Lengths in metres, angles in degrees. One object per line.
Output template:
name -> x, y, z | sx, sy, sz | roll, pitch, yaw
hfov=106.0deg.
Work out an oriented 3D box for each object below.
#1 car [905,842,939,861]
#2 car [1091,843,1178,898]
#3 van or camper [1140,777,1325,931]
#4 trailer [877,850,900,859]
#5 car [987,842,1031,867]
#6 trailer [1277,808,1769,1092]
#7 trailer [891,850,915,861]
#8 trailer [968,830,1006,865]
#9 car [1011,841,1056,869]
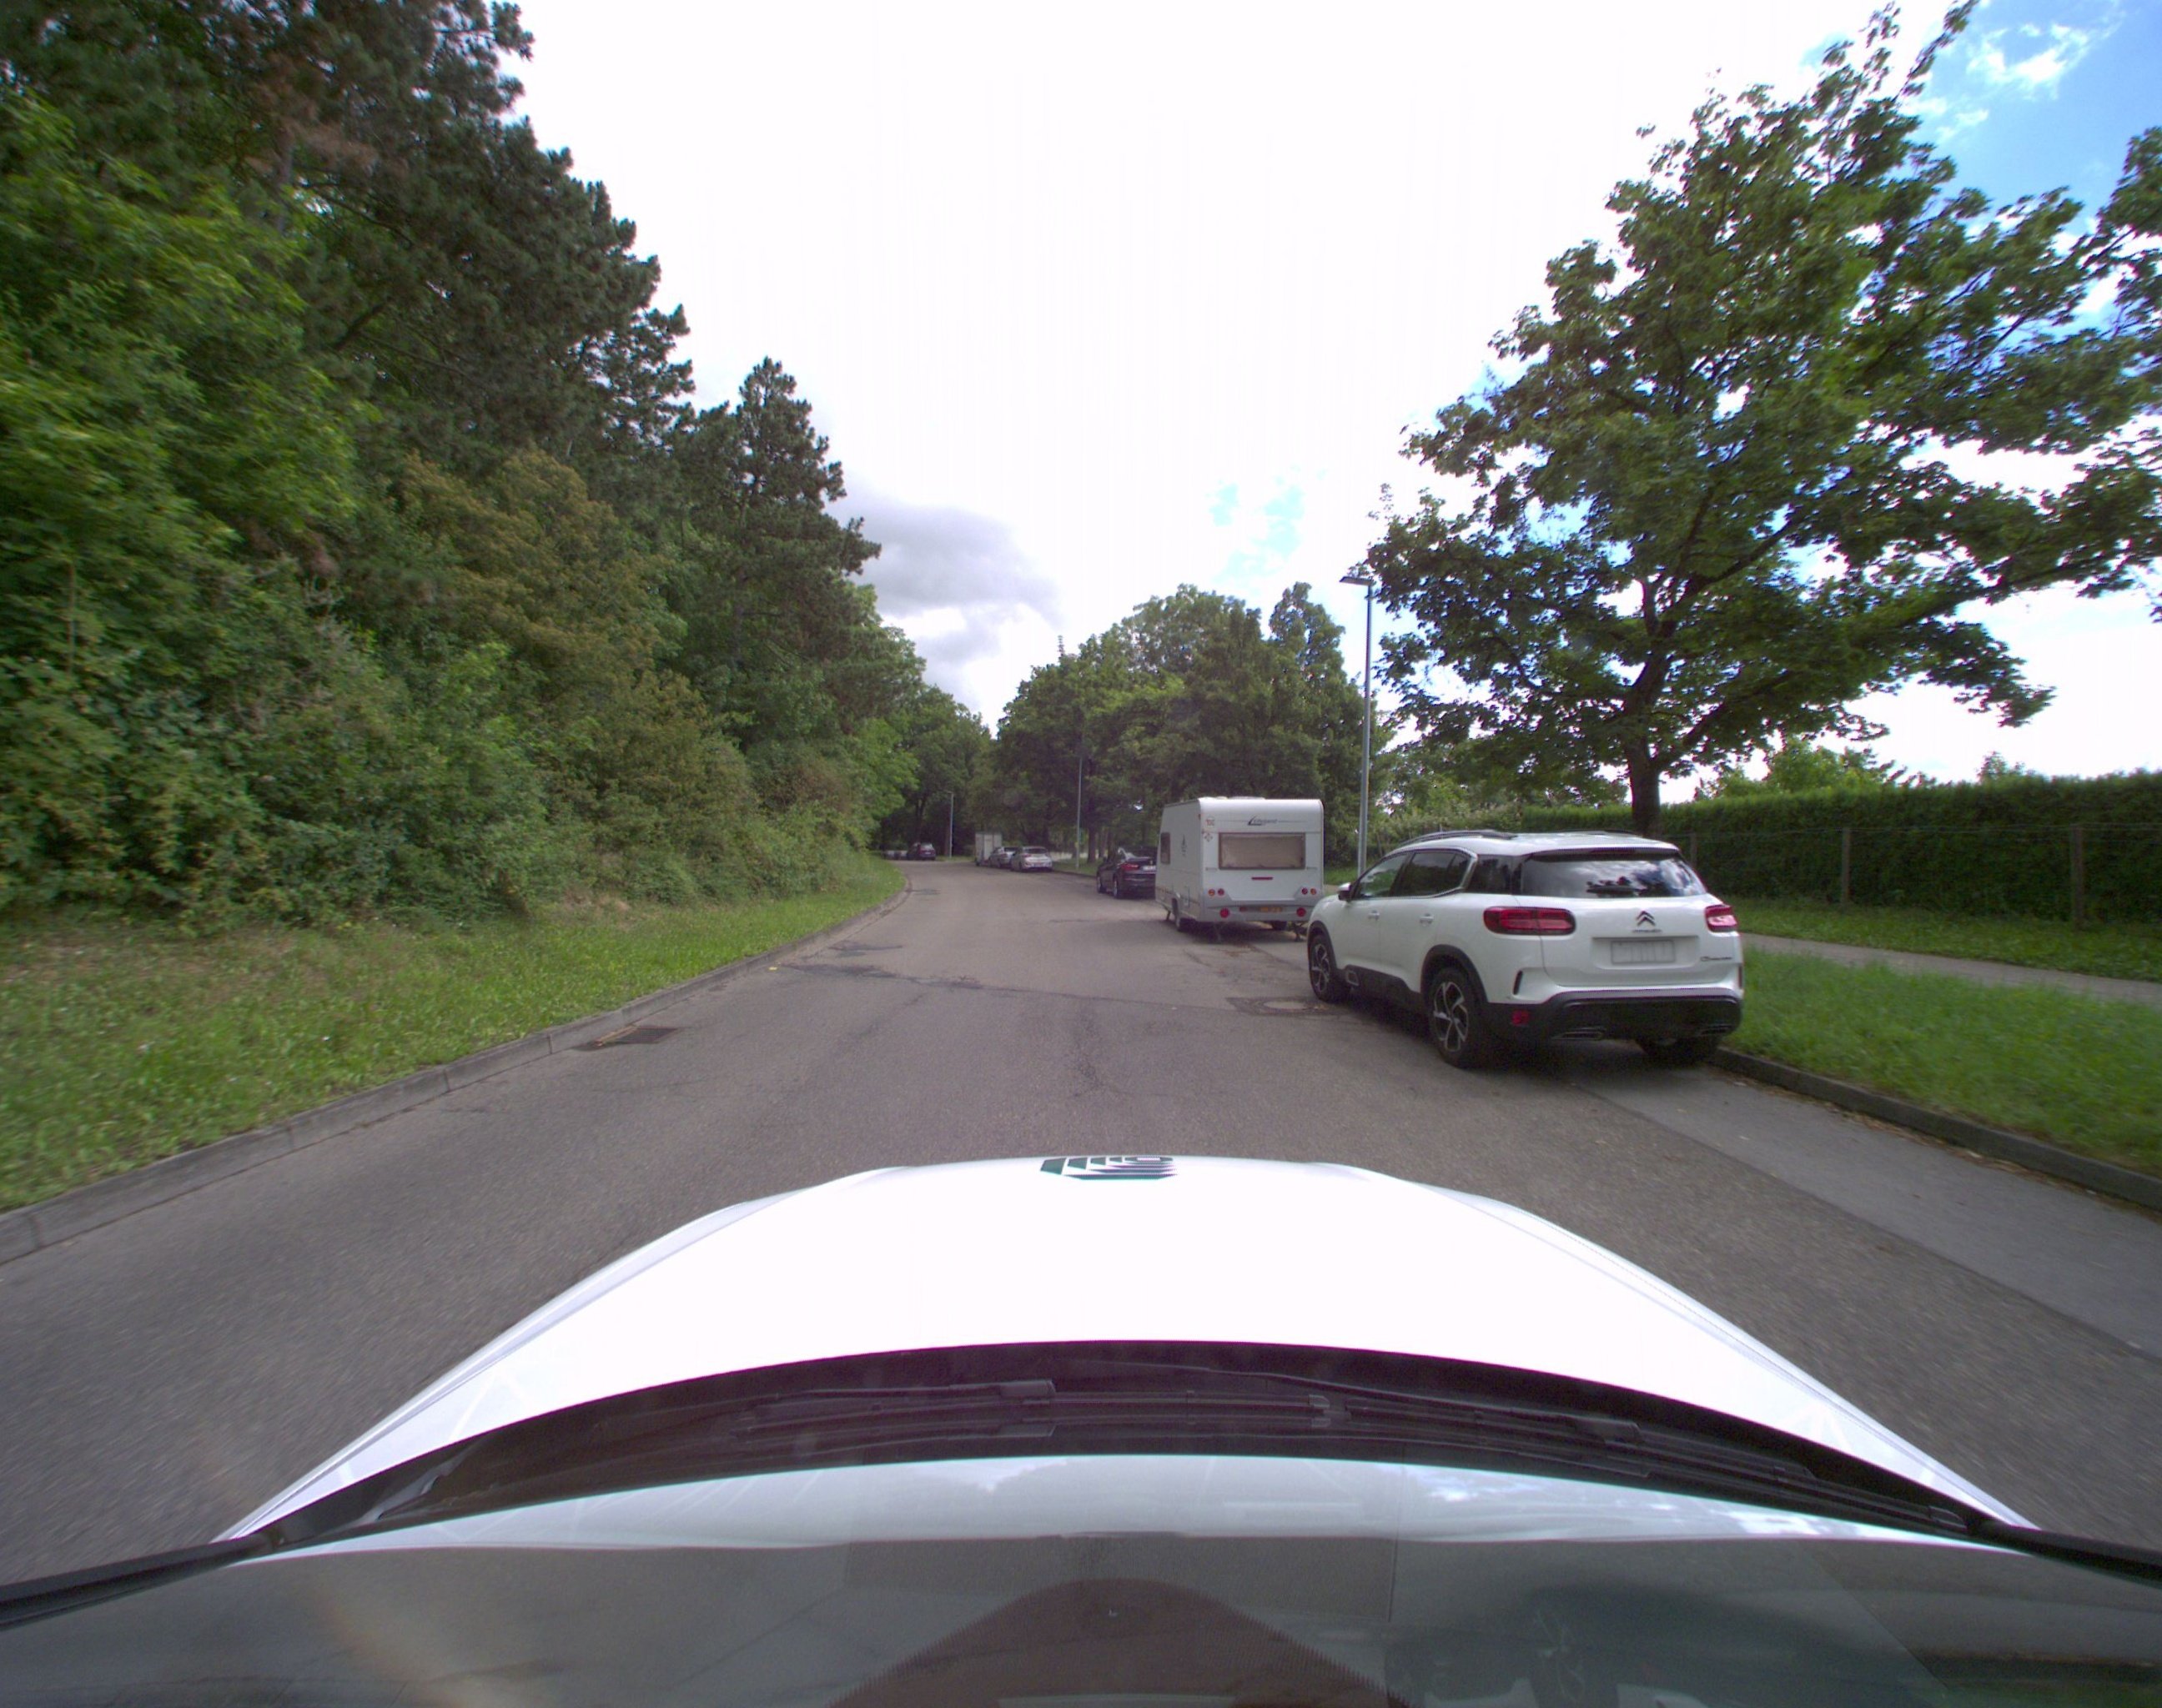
car -> -14.748, -0.216, 75.309 | 1.785, 1.662, 4.796 | 2, -1, -28
car -> 1.656, 0.473, 26.682 | 1.848, 1.643, 4.515 | 0, 1, -10
van or camper -> 2.765, 0.006, 16.591 | 2.158, 2.536, 6.021 | 1, 0, -5
trailer -> -20.064, 0.102, 84.711 | 1.372, 0.848, 3.245 | 2, -2, -32
car -> -4.741, 0.003, 52.983 | 1.747, 1.525, 4.604 | -1, 0, -20
trailer -> 3.347, 0.612, 7.430 | 1.768, 1.731, 4.645 | -1, -1, -3
trailer -> -17.664, 0.131, 80.607 | 1.364, 0.969, 3.859 | 2, 0, -27
trailer -> -6.704, -0.491, 57.992 | 1.767, 2.426, 3.860 | -1, 1, -21
car -> -2.772, 0.084, 46.671 | 1.904, 1.477, 4.040 | 1, -2, -13
